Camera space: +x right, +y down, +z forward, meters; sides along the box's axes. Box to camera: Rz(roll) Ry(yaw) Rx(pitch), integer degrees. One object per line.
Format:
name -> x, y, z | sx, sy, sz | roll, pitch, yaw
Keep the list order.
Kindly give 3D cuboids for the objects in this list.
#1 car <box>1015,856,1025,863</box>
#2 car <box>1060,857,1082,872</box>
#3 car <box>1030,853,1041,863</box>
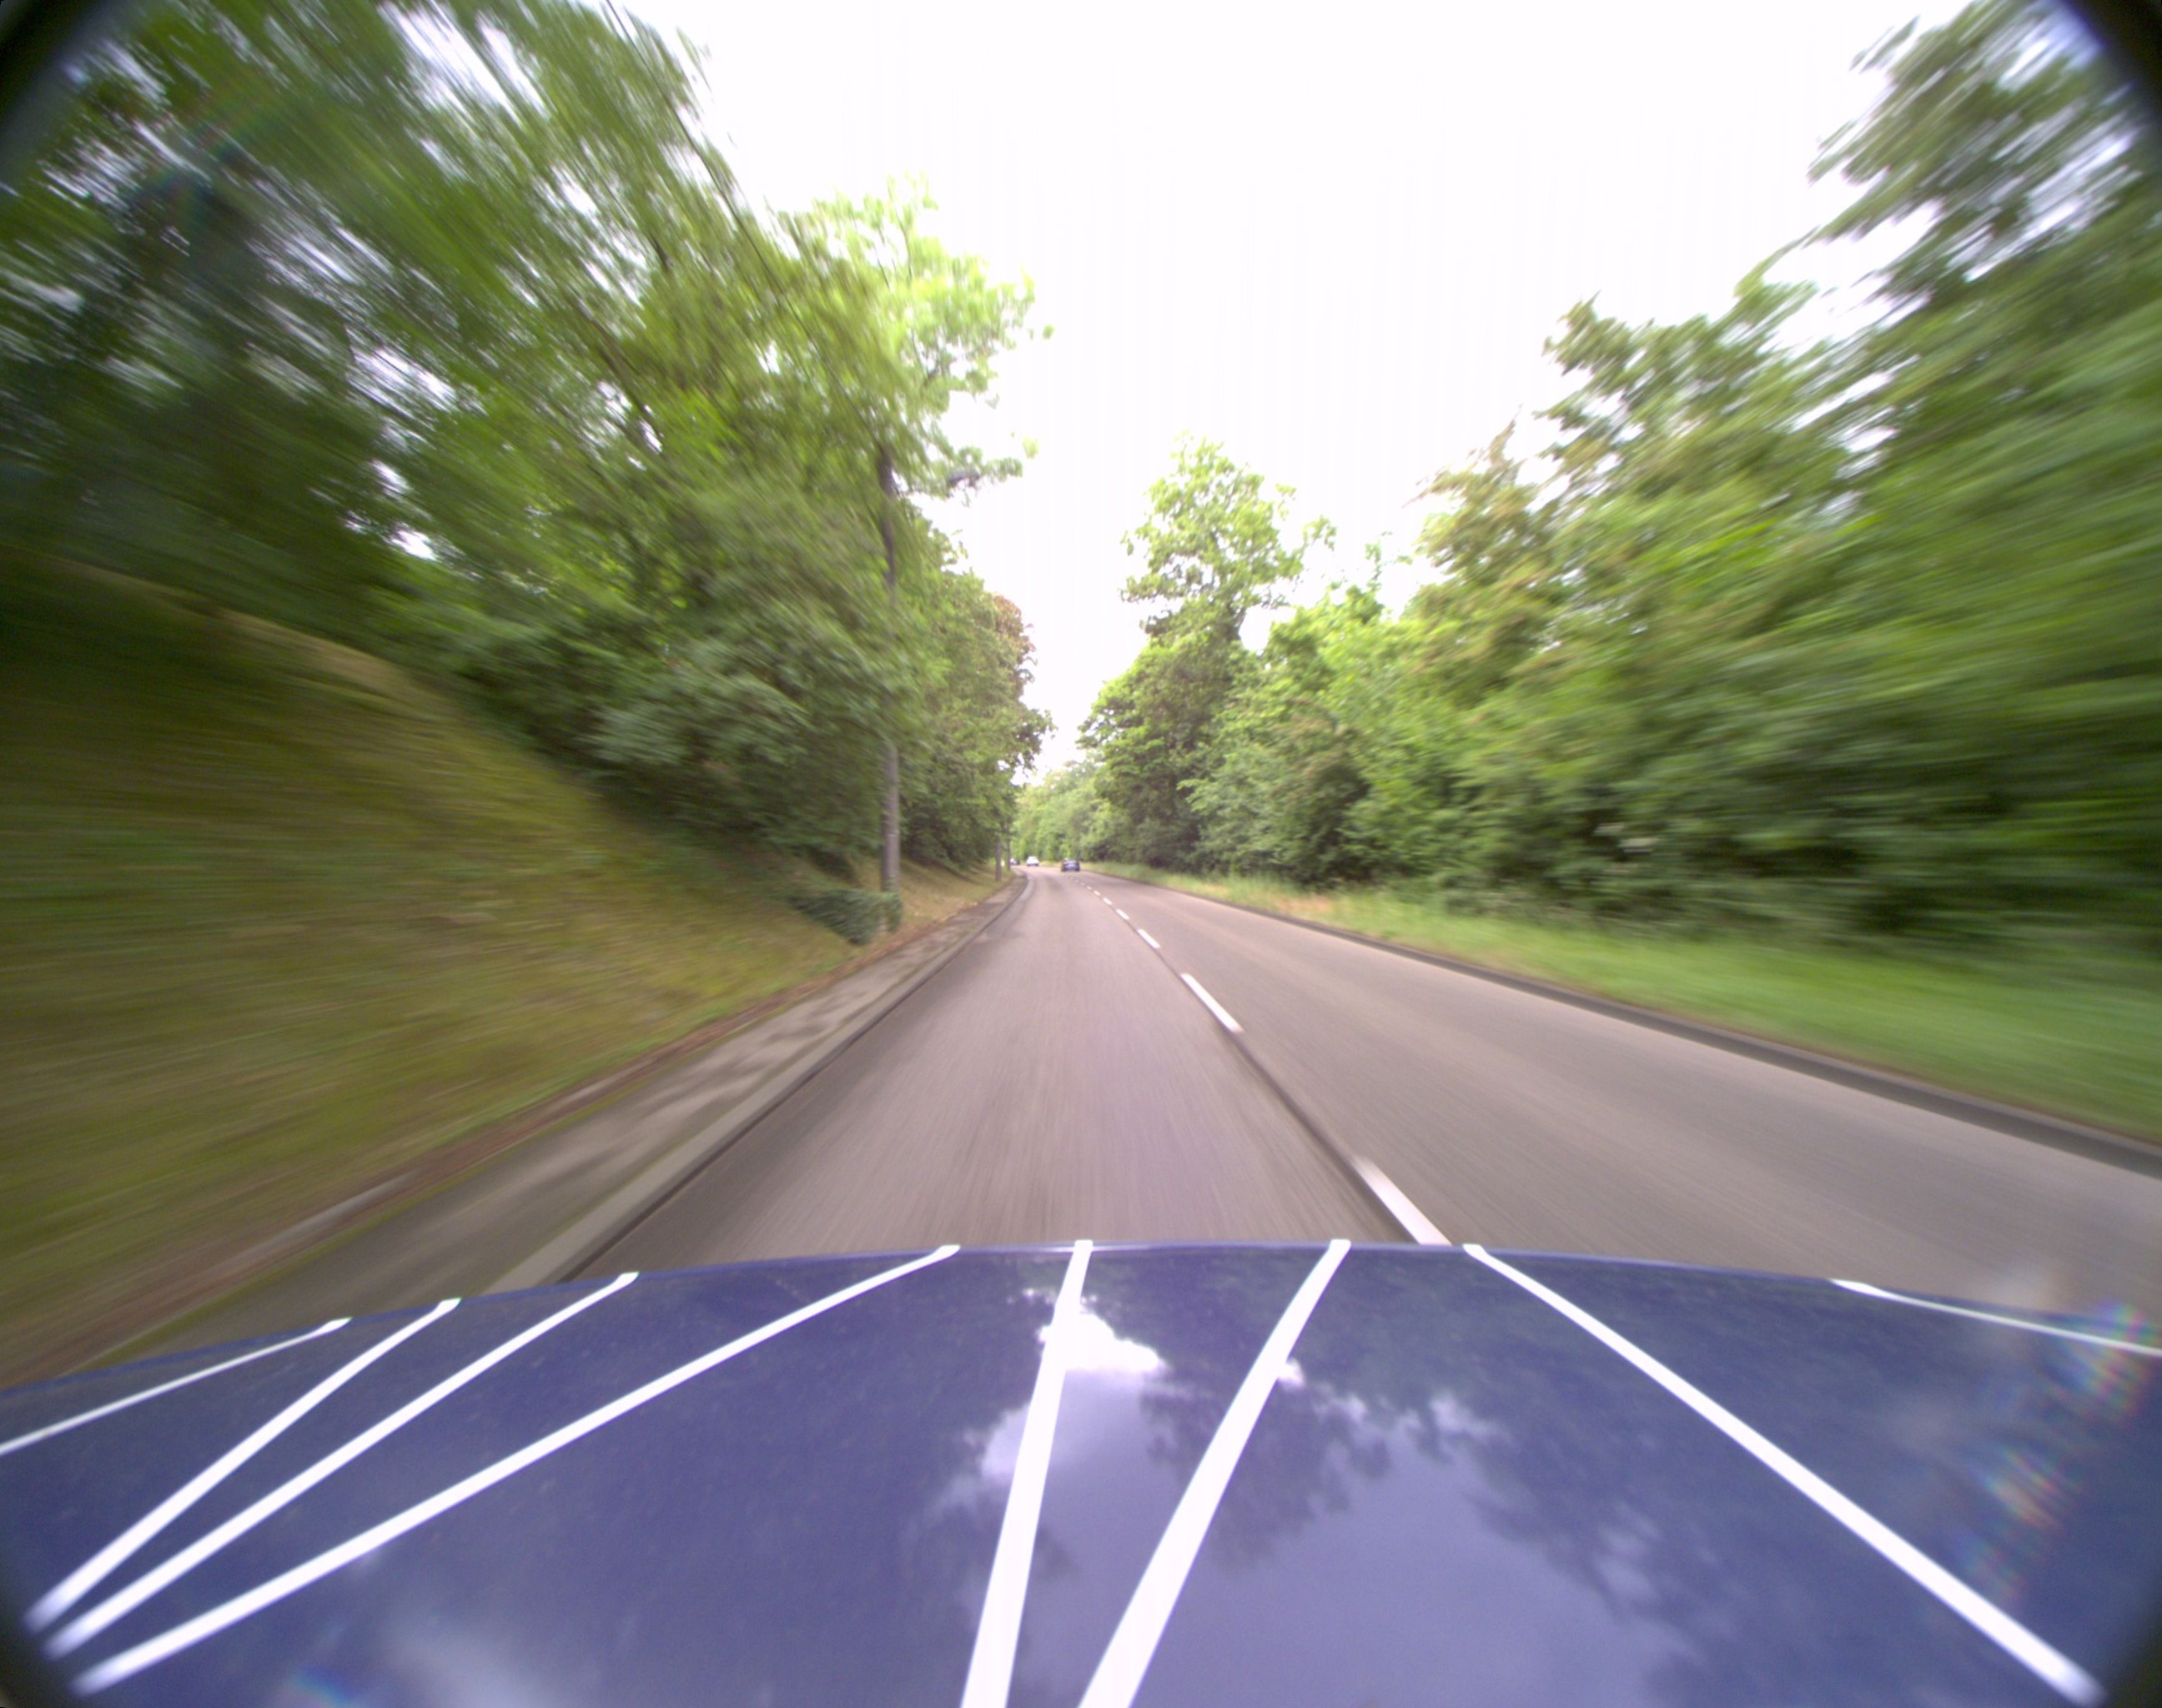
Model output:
car -> -13.163, 1.176, 163.152 | 2.035, 1.499, 4.592 | -2, 1, -6
car -> -1.143, 1.126, 82.564 | 2.000, 1.429, 3.997 | -2, 1, -6
car -> -8.355, 0.717, 138.855 | 1.824, 1.685, 4.285 | -2, 1, -6
